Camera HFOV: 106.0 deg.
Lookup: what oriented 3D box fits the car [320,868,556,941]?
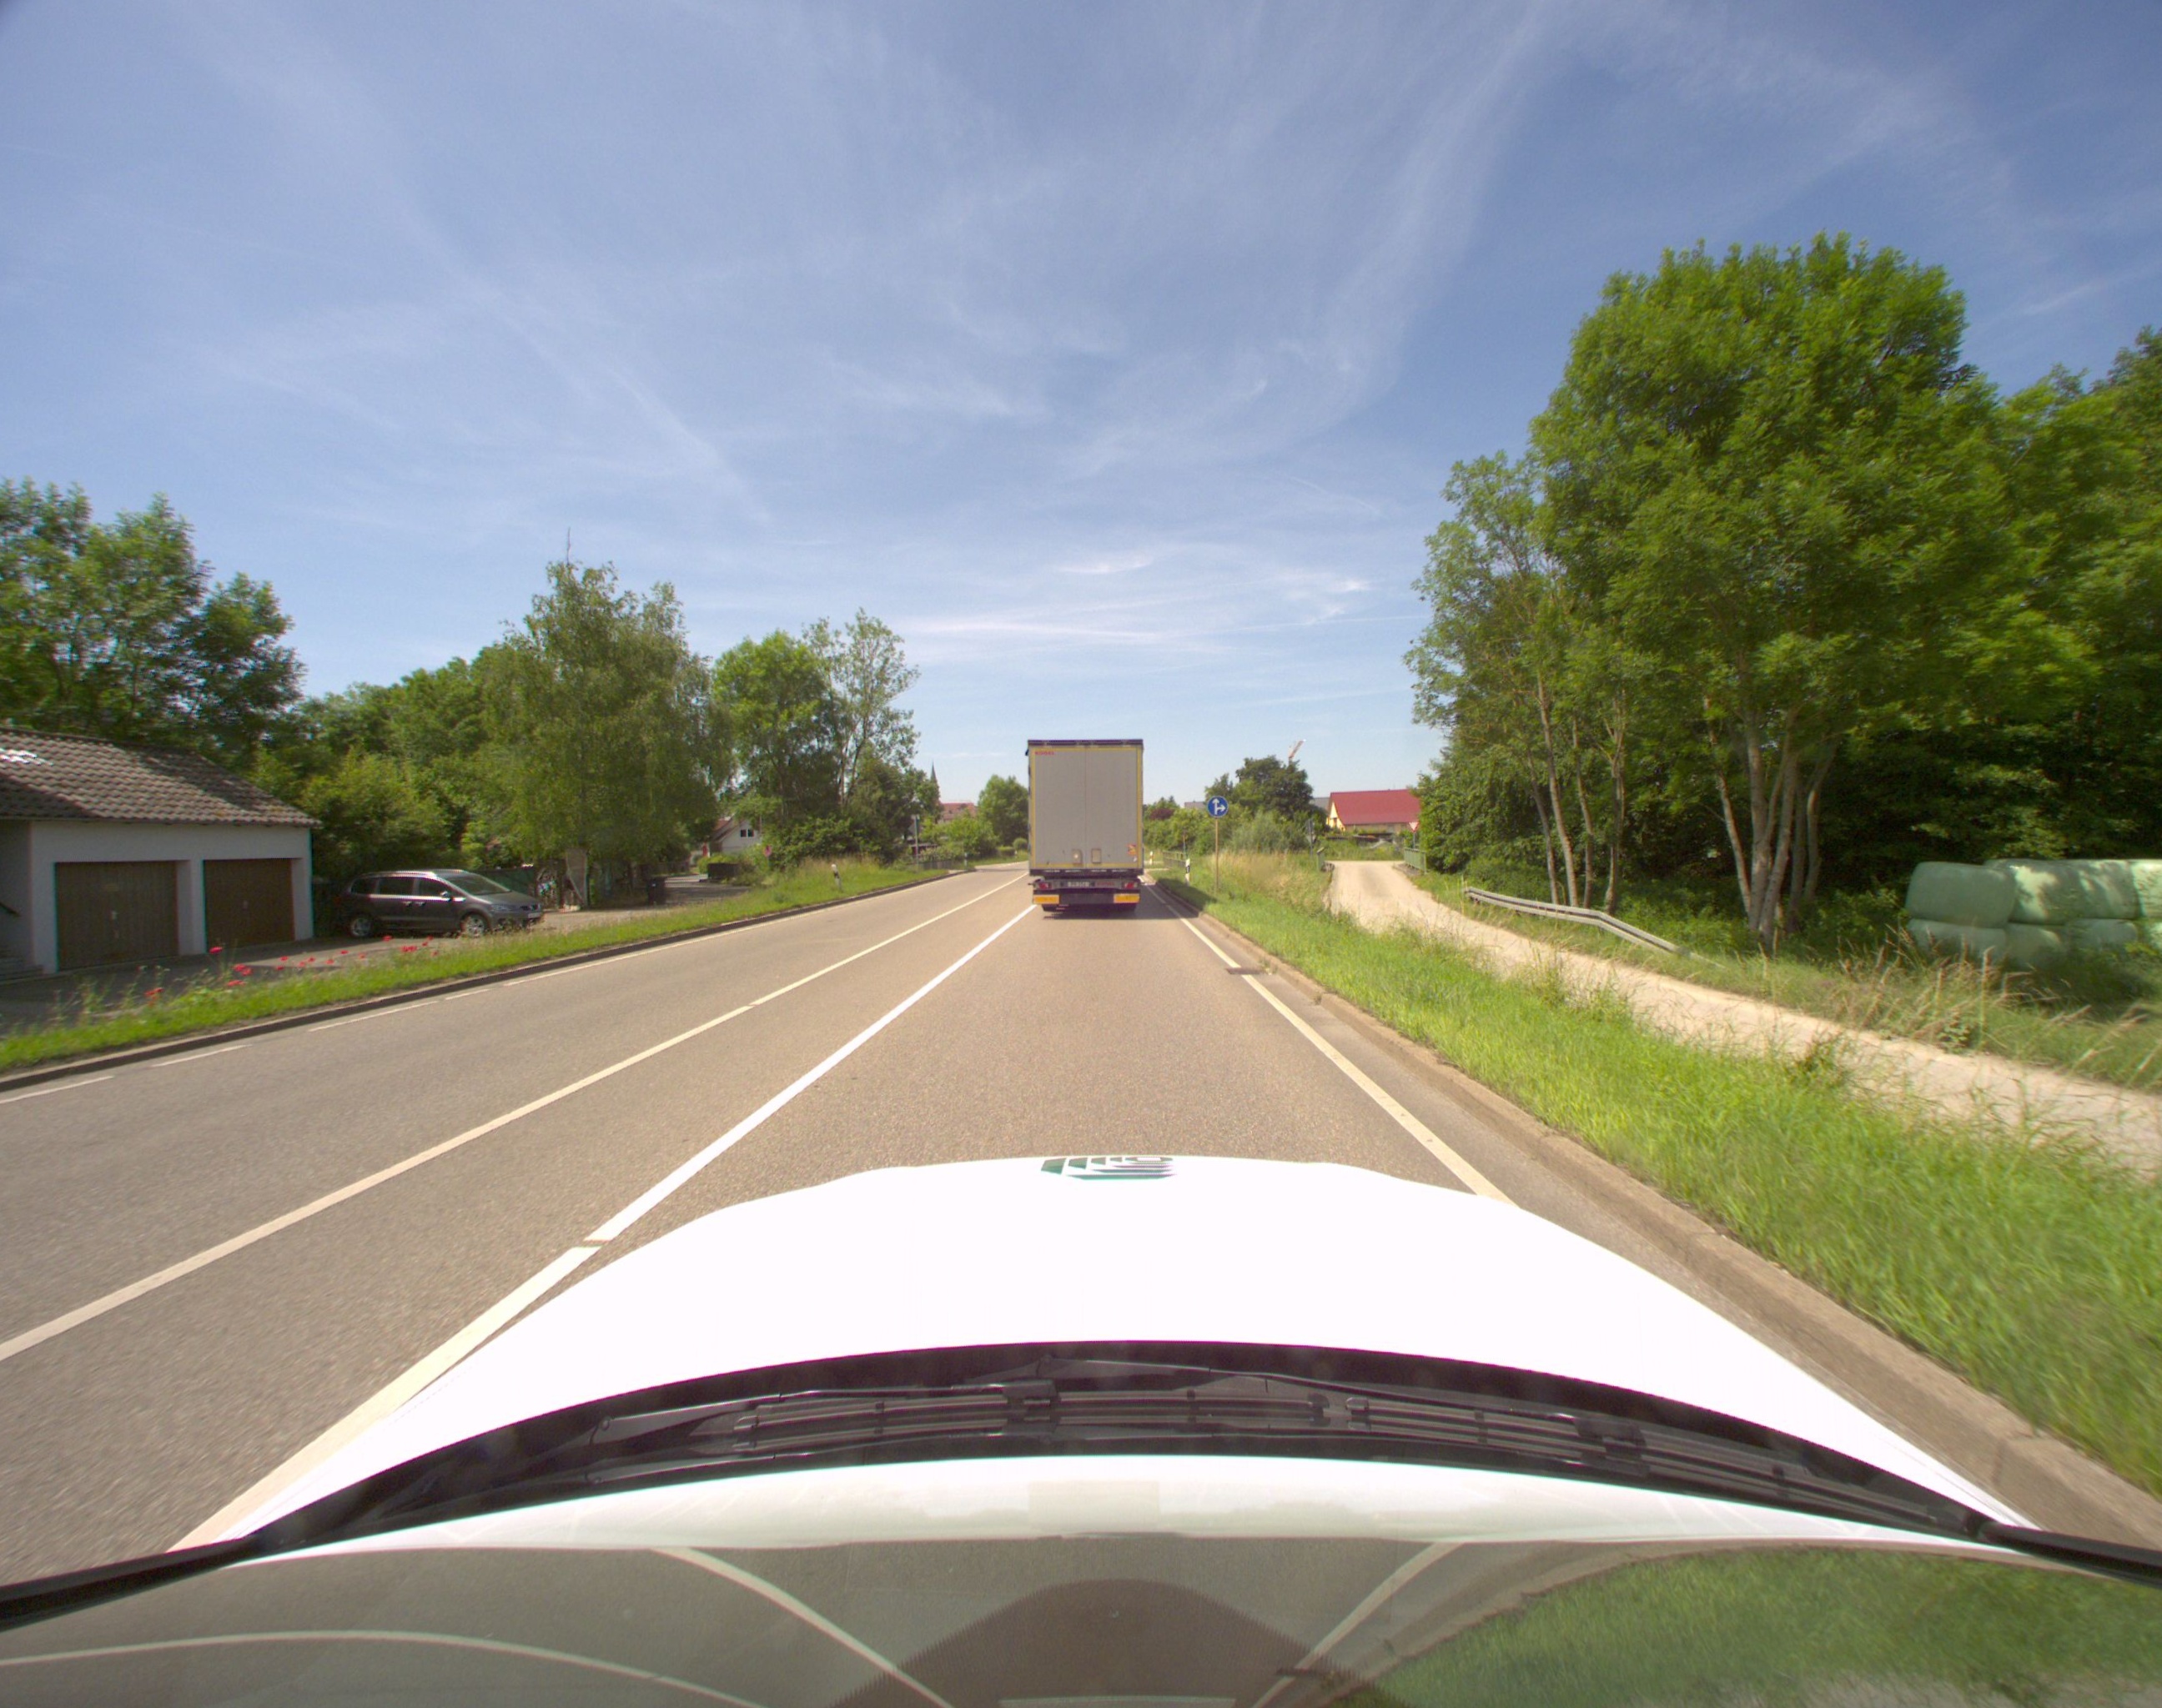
[{"bbox_3d":[-17.033,1.298,21.767,4.652,1.720,1.860,0,2,-3],"label":"car"}]

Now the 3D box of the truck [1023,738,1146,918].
[{"bbox_3d":[0.121,-0.573,22.231,2.638,3.917,8.825,-1,0,0],"label":"truck"}]
